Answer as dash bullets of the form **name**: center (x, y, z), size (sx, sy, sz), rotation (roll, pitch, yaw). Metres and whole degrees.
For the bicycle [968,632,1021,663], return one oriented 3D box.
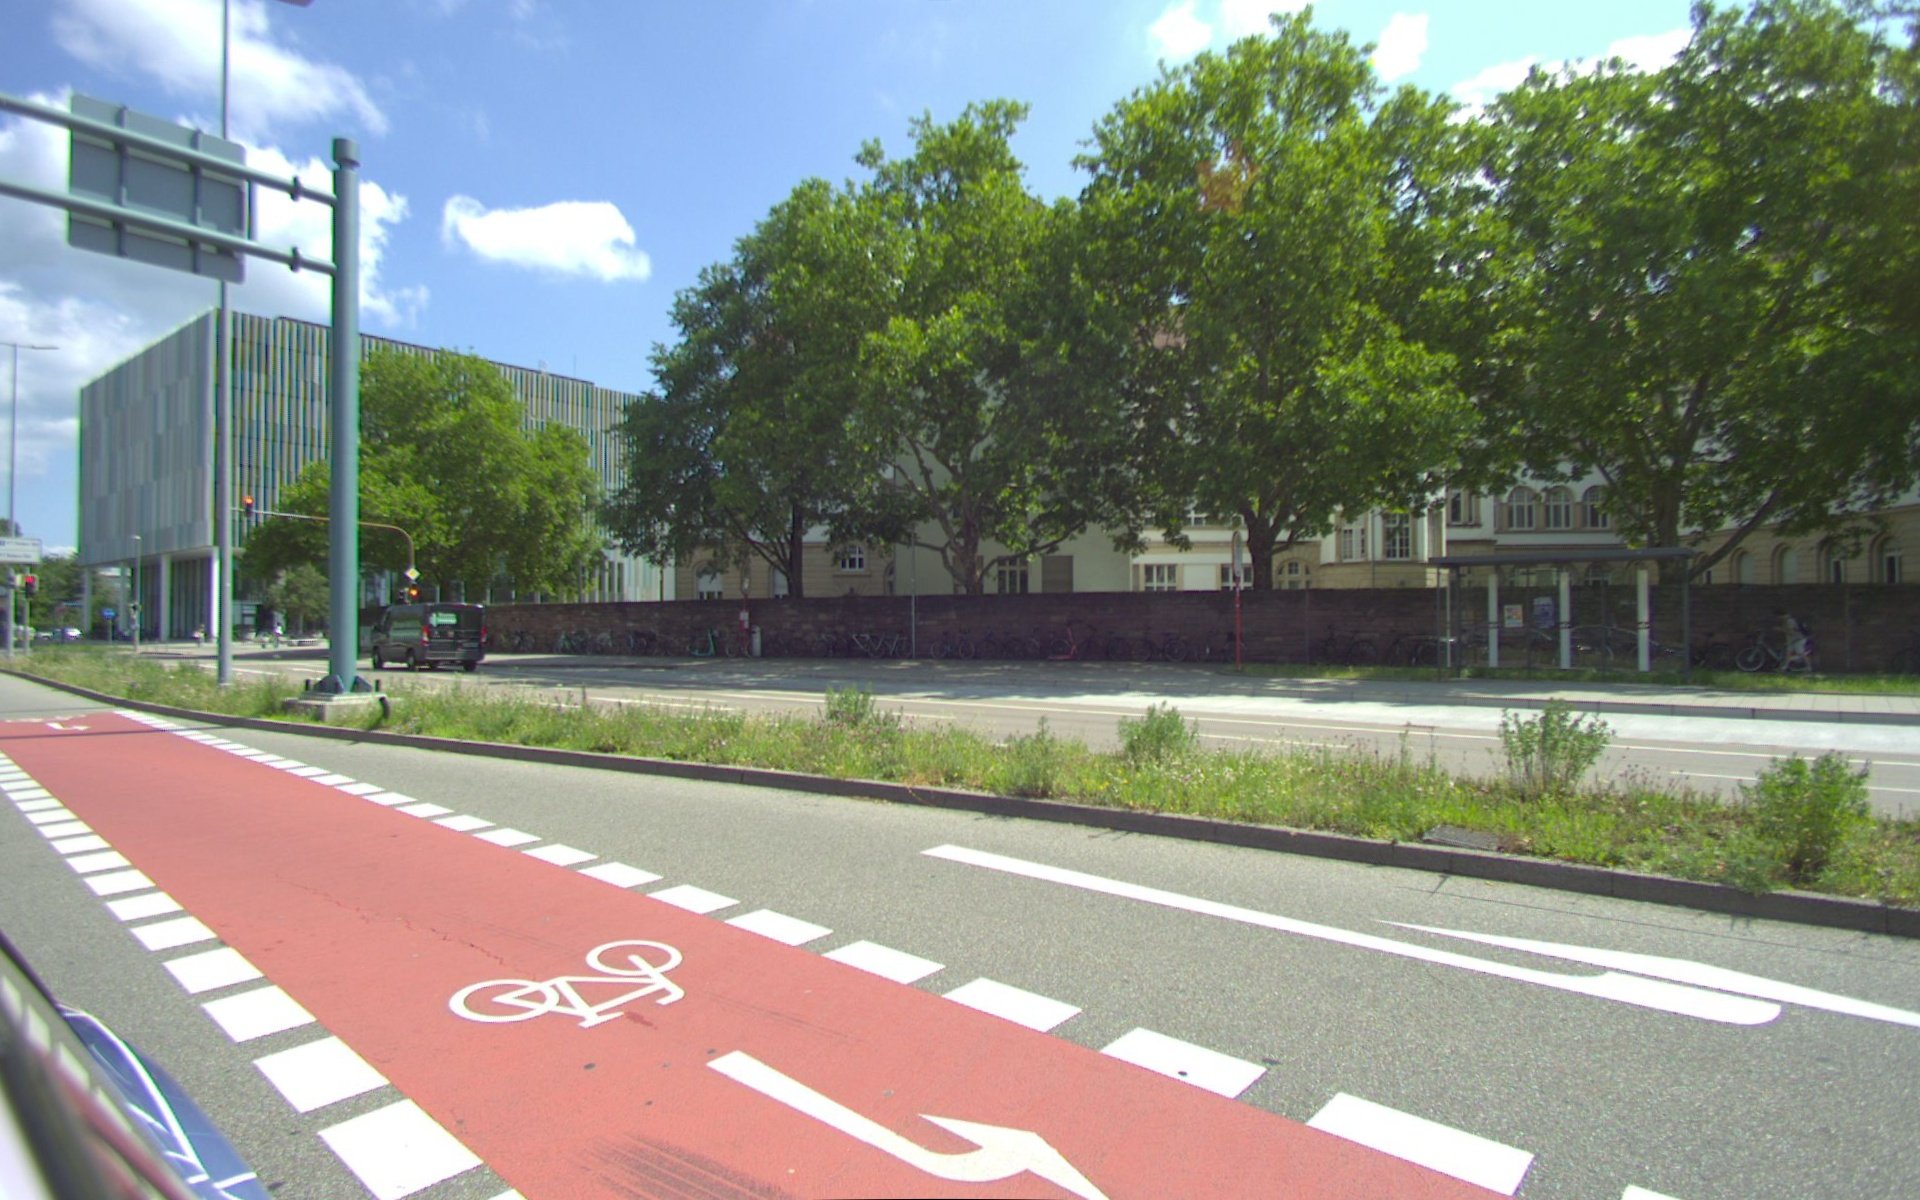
- **bicycle**: center (1.132, 1.567, 33.545), size (1.753, 1.011, 0.394), rotation (-1, -2, 27)

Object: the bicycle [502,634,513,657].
- **bicycle**: center (-20.793, 2.079, 46.499), size (0.324, 1.025, 1.675), rotation (1, -2, -28)

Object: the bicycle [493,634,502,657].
- **bicycle**: center (-21.428, 2.087, 46.881), size (0.324, 1.025, 1.675), rotation (1, -2, -28)

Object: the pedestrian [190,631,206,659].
- **pedestrian**: center (-53.985, 3.189, 71.663), size (0.806, 1.931, 0.706), rotation (-1, 0, 36)

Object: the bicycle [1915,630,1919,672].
- **bicycle**: center (24.365, 1.246, 24.591), size (1.671, 1.038, 0.396), rotation (-1, -2, 15)

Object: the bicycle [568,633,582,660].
- **bicycle**: center (-16.636, 1.999, 43.708), size (0.376, 1.116, 1.675), rotation (1, -2, -28)

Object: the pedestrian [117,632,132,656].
- **pedestrian**: center (-70.841, 3.711, 85.795), size (0.806, 1.931, 0.816), rotation (-1, 0, 36)

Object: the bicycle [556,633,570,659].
- **bicycle**: center (-17.318, 2.008, 44.165), size (0.376, 1.116, 1.675), rotation (1, -2, -28)

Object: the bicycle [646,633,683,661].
- **bicycle**: center (-11.941, 1.901, 40.878), size (1.664, 1.116, 0.379), rotation (-1, -2, 31)

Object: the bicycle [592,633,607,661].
- **bicycle**: center (-15.266, 1.978, 42.823), size (0.376, 1.116, 1.675), rotation (1, -2, -28)

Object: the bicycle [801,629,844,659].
- **bicycle**: center (-5.009, 1.597, 36.789), size (1.663, 1.051, 0.379), rotation (-1, -2, 29)

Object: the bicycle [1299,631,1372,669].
- **bicycle**: center (10.801, 1.430, 29.130), size (1.945, 1.051, 0.395), rotation (-1, -2, 22)

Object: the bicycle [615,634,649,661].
- **bicycle**: center (-13.626, 1.968, 42.003), size (1.665, 1.116, 0.378), rotation (-1, -2, 32)

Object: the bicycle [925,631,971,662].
- **bicycle**: center (-0.402, 1.567, 34.344), size (1.576, 1.051, 0.394), rotation (-1, -2, 27)

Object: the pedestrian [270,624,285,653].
- **pedestrian**: center (-46.893, 2.635, 69.526), size (0.718, 1.932, 0.624), rotation (-1, 0, 38)

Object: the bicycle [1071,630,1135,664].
- **bicycle**: center (4.500, 1.463, 31.881), size (1.946, 1.051, 0.395), rotation (-1, -2, 25)

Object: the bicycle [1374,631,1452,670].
- **bicycle**: center (12.662, 1.400, 28.338), size (1.945, 1.051, 0.395), rotation (-1, -2, 22)

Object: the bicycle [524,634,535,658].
- **bicycle**: center (-19.405, 2.069, 45.597), size (0.324, 1.025, 1.675), rotation (1, -2, -28)

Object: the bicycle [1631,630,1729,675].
- **bicycle**: center (18.721, 1.369, 26.334), size (2.022, 1.146, 0.396), rotation (-1, -2, 18)

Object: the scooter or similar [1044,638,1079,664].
- **scooter or similar**: center (3.192, 1.604, 31.797), size (1.060, 0.800, 0.351), rotation (-1, -2, 17)

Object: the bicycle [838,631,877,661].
- **bicycle**: center (-3.647, 1.627, 36.022), size (1.409, 1.051, 0.374), rotation (-1, -2, 27)

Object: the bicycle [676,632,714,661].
- **bicycle**: center (-10.480, 1.838, 40.017), size (1.663, 1.116, 0.379), rotation (-1, -2, 29)

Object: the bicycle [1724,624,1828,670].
- **bicycle**: center (20.731, 1.189, 25.739), size (2.022, 1.146, 0.396), rotation (-1, -2, 18)

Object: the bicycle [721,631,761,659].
- **bicycle**: center (-8.330, 1.698, 38.551), size (1.663, 1.051, 0.379), rotation (-1, -2, 29)

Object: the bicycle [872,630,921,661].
- **bicycle**: center (-2.208, 1.578, 35.269), size (1.753, 1.051, 0.394), rotation (-1, -2, 27)

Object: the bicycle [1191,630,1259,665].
- **bicycle**: center (7.969, 1.421, 30.422), size (1.945, 1.051, 0.395), rotation (-1, -2, 22)

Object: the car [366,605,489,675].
- **car**: center (-17.878, 1.348, 33.902), size (4.519, 2.188, 2.185), rotation (-2, -4, 42)

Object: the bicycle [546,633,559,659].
- **bicycle**: center (-17.815, 2.015, 44.258), size (0.376, 1.116, 1.675), rotation (1, -2, -28)

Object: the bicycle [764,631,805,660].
- **bicycle**: center (-6.539, 1.677, 37.663), size (1.663, 1.051, 0.379), rotation (-1, -2, 29)

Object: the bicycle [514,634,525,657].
- **bicycle**: center (-20.010, 2.071, 45.987), size (0.324, 1.025, 1.675), rotation (1, -2, -28)

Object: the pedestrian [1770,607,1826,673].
- **pedestrian**: center (20.771, 0.990, 25.102), size (0.773, 1.623, 0.720), rotation (-1, -2, 12)

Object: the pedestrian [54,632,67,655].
- **pedestrian**: center (-79.002, 3.818, 88.876), size (0.806, 1.931, 0.706), rotation (-1, 0, 36)

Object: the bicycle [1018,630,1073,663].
- **bicycle**: center (2.749, 1.502, 32.722), size (1.752, 1.051, 0.394), rotation (-1, -2, 26)

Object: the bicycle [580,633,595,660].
- **bicycle**: center (-15.922, 1.987, 43.218), size (0.376, 1.116, 1.675), rotation (1, -2, -28)

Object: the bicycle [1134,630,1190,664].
- **bicycle**: center (6.222, 1.438, 31.152), size (1.629, 1.051, 0.395), rotation (-1, -2, 22)

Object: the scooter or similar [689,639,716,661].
- **scooter or similar**: center (-9.870, 1.906, 38.831), size (1.065, 0.850, 0.350), rotation (-1, -2, 29)
